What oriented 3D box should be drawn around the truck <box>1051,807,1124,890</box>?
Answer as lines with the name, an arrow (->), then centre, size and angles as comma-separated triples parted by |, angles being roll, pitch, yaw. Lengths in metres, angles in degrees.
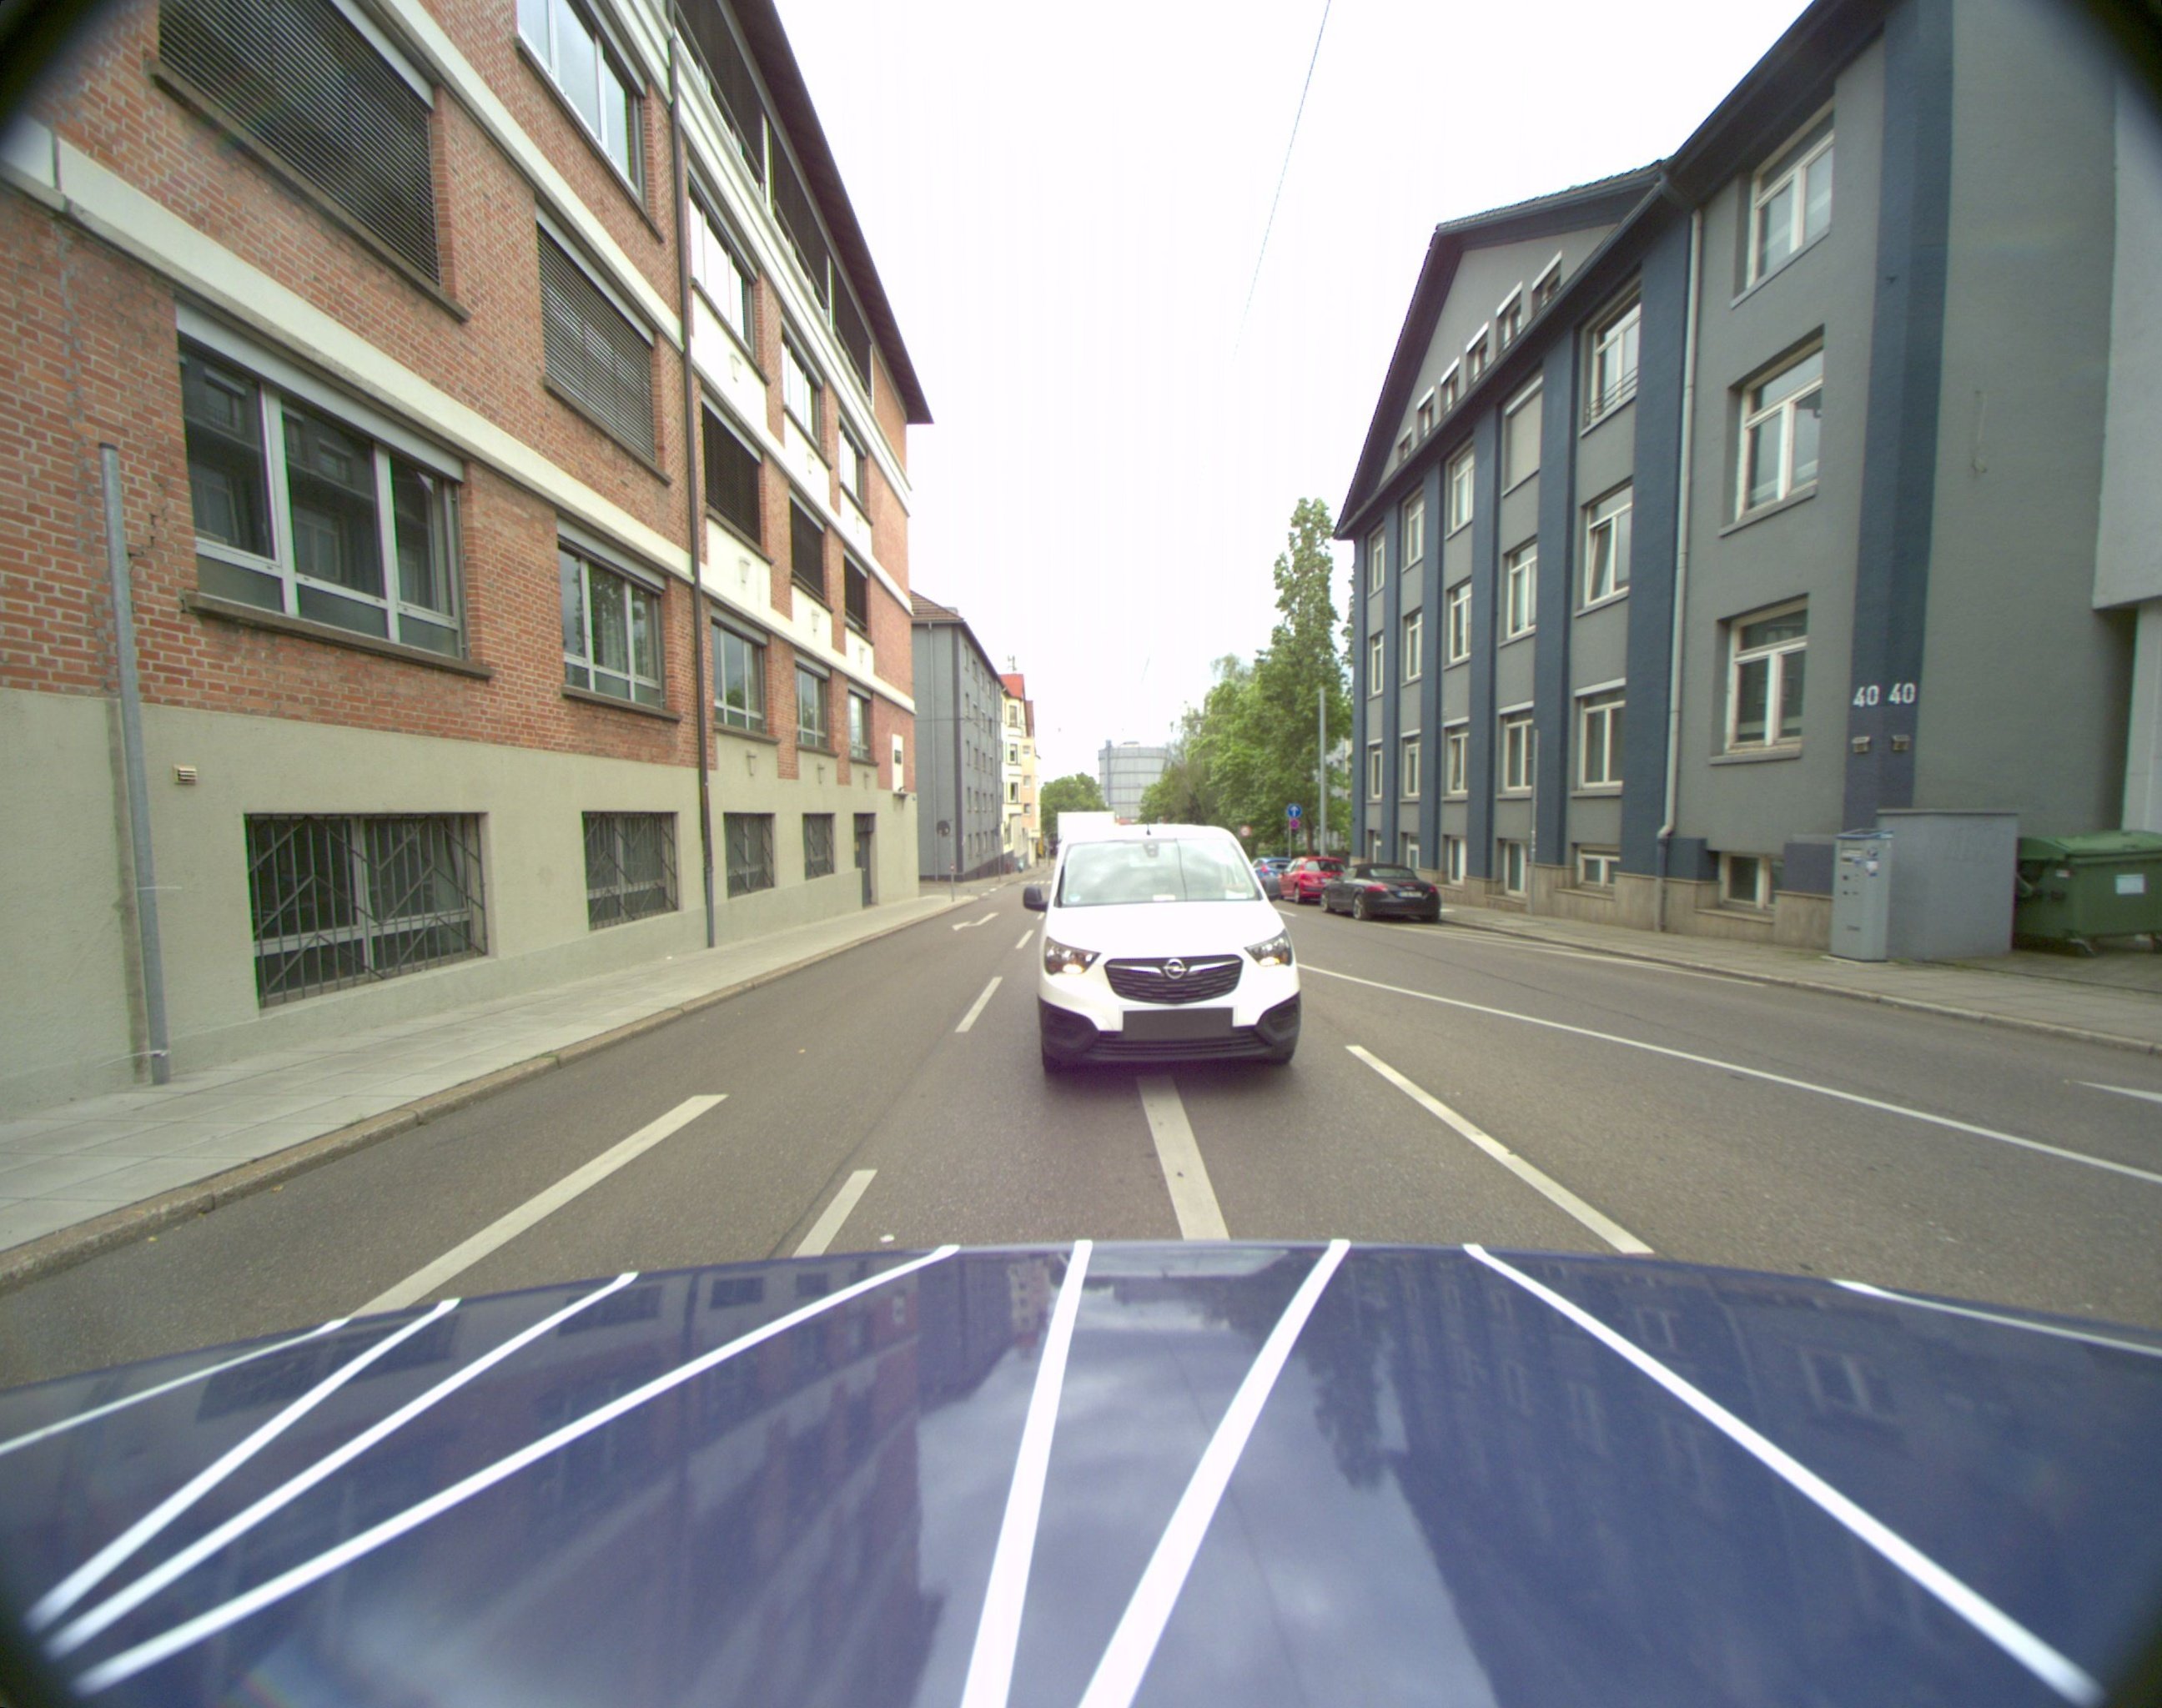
truck -> 0.345, -0.295, 36.607 | 2.969, 3.409, 8.879 | -2, 1, 1

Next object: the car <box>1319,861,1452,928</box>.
car -> 7.246, 0.896, 18.491 | 1.801, 1.384, 3.729 | 0, 1, 1

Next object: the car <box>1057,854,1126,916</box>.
car -> 0.309, 0.815, 21.884 | 1.739, 1.519, 3.999 | -2, 1, 1

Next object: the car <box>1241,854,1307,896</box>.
car -> 7.489, 0.782, 29.778 | 1.644, 1.441, 3.729 | -2, 1, 1

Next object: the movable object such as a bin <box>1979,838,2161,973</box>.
movable object such as a bin -> 12.080, 0.586, 9.177 | 1.229, 1.498, 1.040 | -2, 1, 1

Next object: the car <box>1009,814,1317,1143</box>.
car -> 0.510, 0.711, 6.447 | 1.739, 1.875, 3.999 | -2, 1, 1

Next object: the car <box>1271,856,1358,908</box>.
car -> 7.386, 0.839, 24.343 | 1.644, 1.441, 3.729 | -2, 1, 1

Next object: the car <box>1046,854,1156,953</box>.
car -> 0.348, 0.806, 14.392 | 1.739, 1.519, 3.999 | -2, 1, 1
